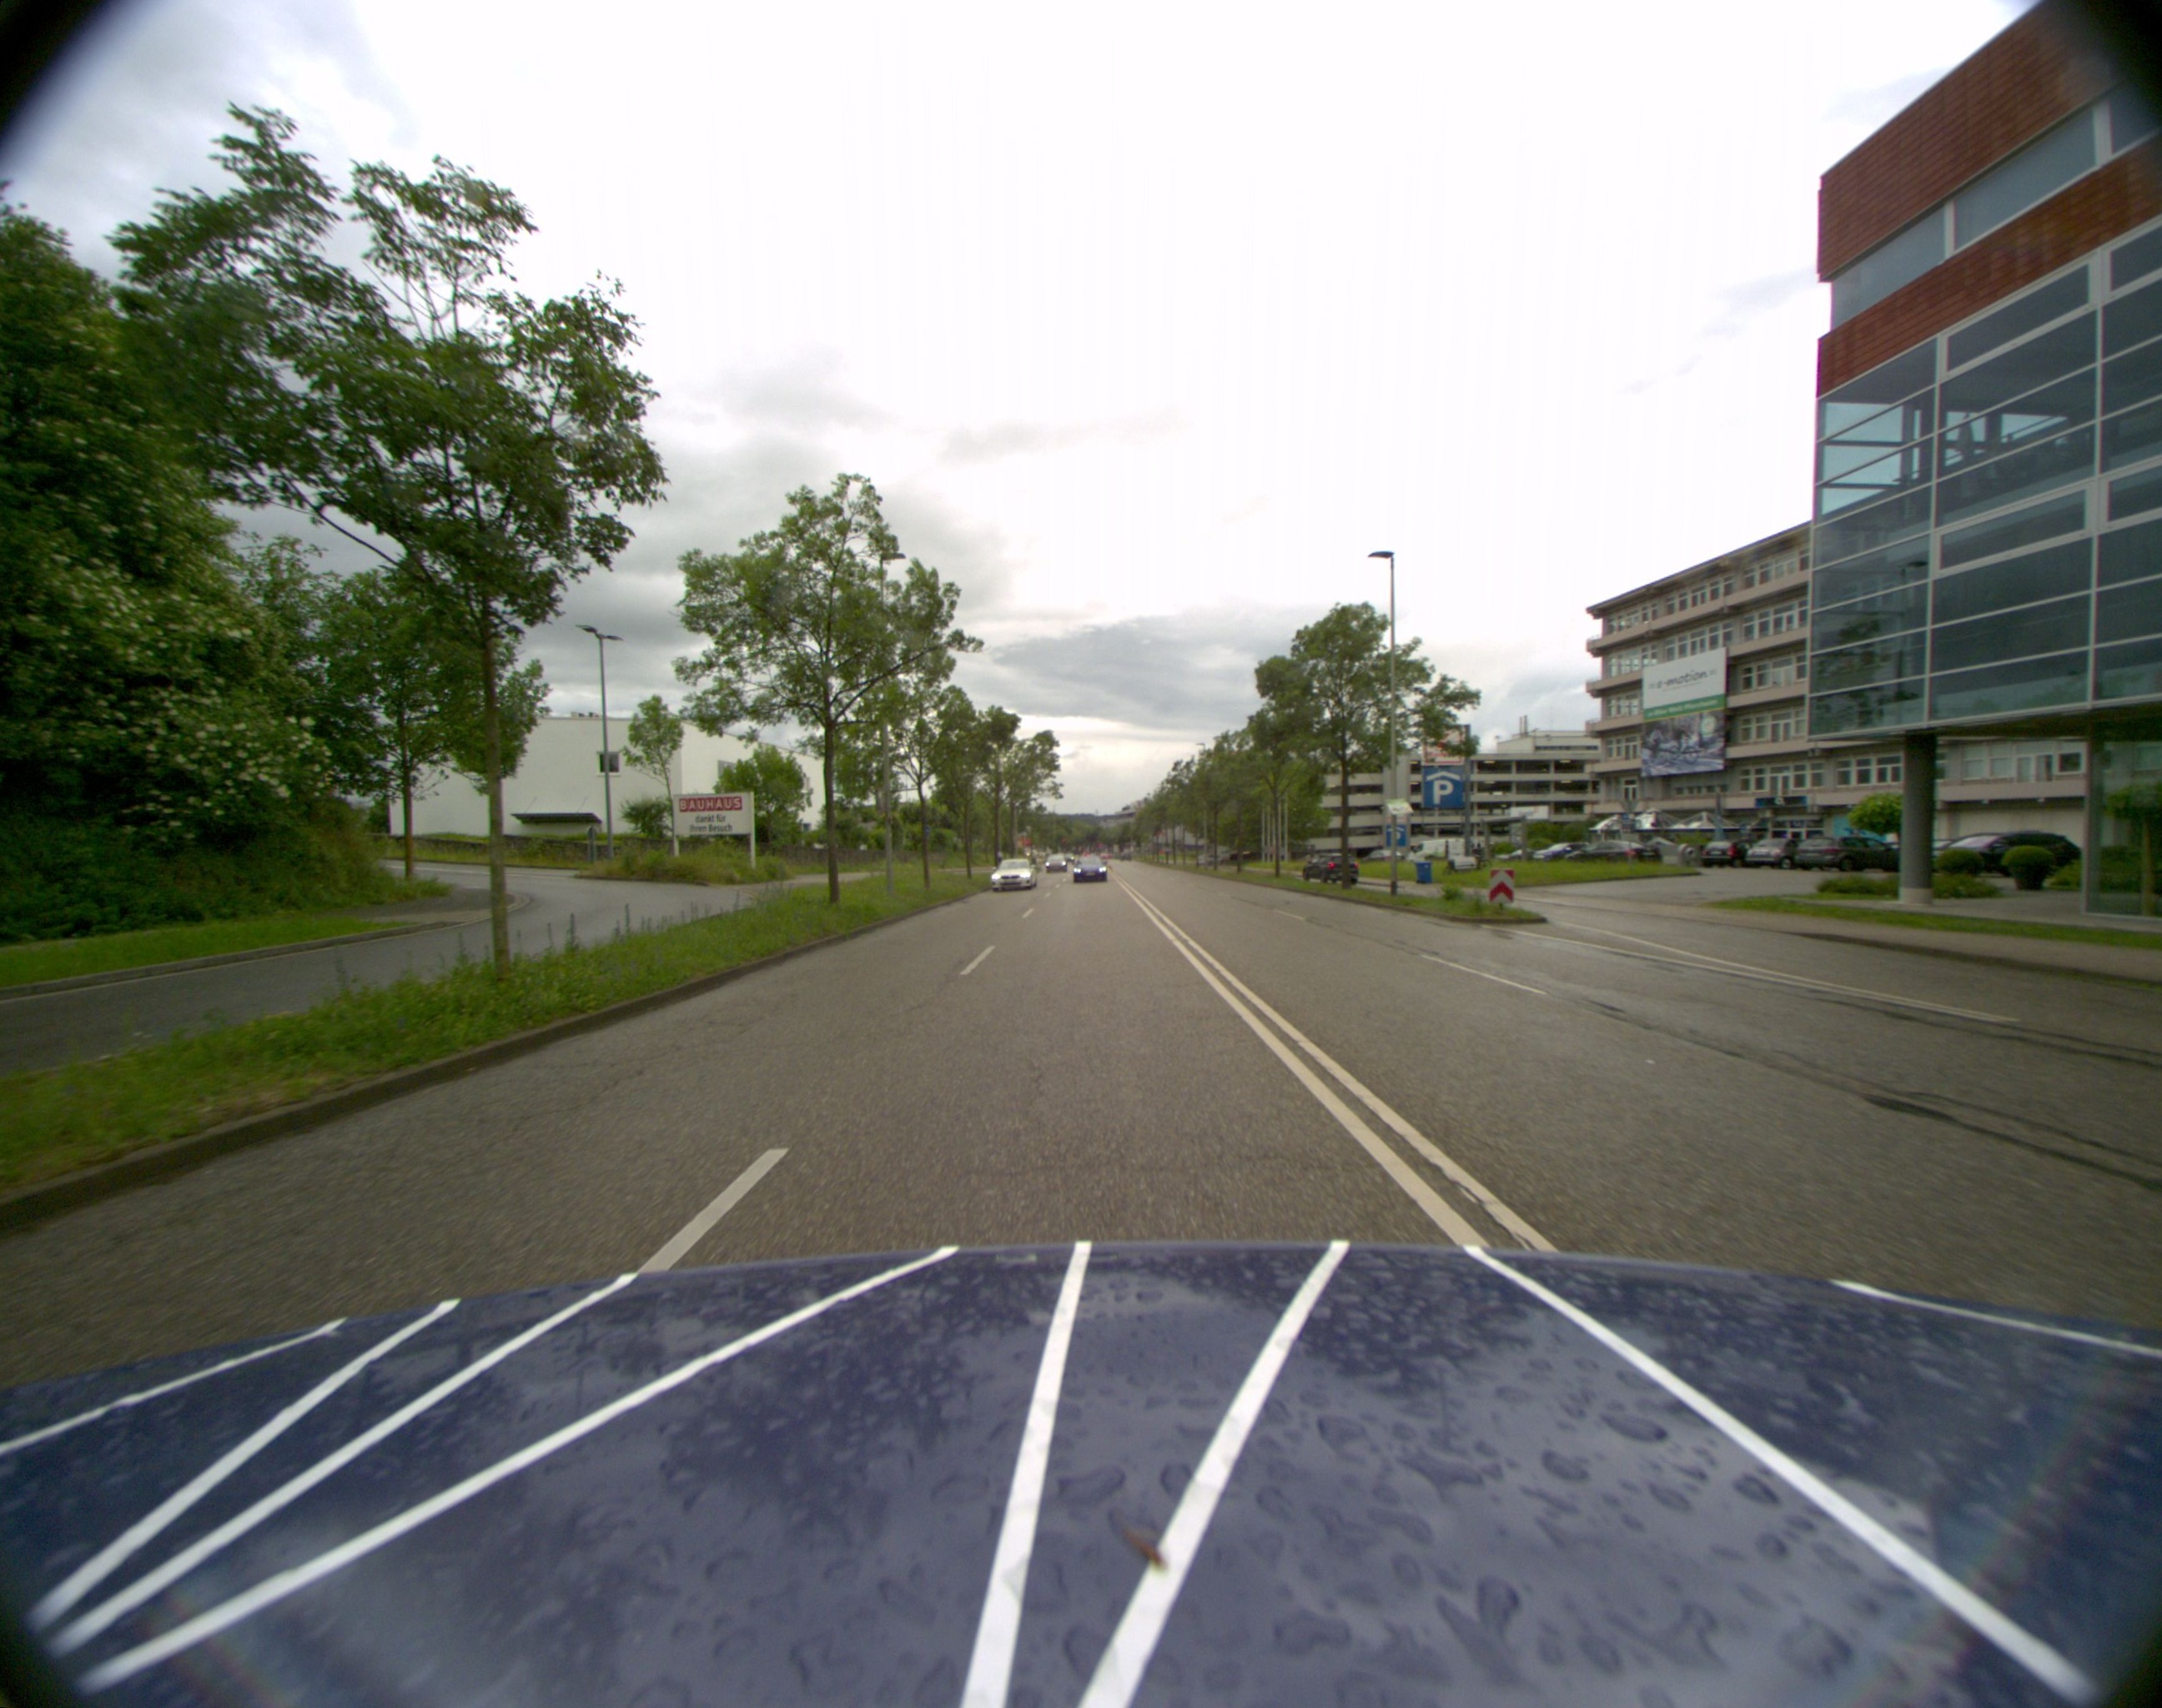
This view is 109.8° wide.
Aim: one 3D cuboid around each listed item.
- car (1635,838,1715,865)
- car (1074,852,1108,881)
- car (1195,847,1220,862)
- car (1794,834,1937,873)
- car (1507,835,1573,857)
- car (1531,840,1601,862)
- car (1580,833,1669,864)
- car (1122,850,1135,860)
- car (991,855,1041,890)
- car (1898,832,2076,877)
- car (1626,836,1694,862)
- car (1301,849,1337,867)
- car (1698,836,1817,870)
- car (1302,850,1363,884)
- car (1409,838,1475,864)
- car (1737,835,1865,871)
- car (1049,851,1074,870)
[{"bbox_3d":[37.478,-0.179,47.953,3.999,1.590,1.680,-1,1,-7],"label":"car"},{"bbox_3d":[0.539,0.680,43.516,1.827,1.473,4.839,-2,0,0],"label":"car"},{"bbox_3d":[16.038,0.056,95.870,1.846,1.839,4.008,0,0,29],"label":"car"},{"bbox_3d":[34.032,-0.024,33.039,4.437,1.608,1.833,-1,1,-2],"label":"car"},{"bbox_3d":[36.017,-0.612,59.713,4.060,1.608,1.834,-1,1,0],"label":"car"},{"bbox_3d":[36.312,-0.232,56.926,4.060,1.608,1.834,-1,1,0],"label":"car"},{"bbox_3d":[24.320,-0.270,34.156,1.509,1.276,3.449,-2,1,0],"label":"car"},{"bbox_3d":[8.466,0.162,135.884,2.114,1.610,4.839,1,0,0],"label":"car"},{"bbox_3d":[-3.062,0.847,36.501,1.864,1.473,4.000,-2,0,2],"label":"car"},{"bbox_3d":[34.430,0.001,28.968,4.435,1.608,1.834,-1,1,3],"label":"car"},{"bbox_3d":[33.655,-0.302,44.290,1.439,1.413,3.497,-1,0,3],"label":"car"},{"bbox_3d":[21.815,0.370,69.734,1.833,1.608,4.062,-1,0,-2],"label":"car"},{"bbox_3d":[33.950,-0.075,38.203,4.437,1.608,1.833,-1,1,-2],"label":"car"},{"bbox_3d":[13.211,0.651,40.097,1.833,1.608,4.000,-2,0,0],"label":"car"},{"bbox_3d":[23.657,-0.190,49.930,1.834,1.608,4.436,-1,0,-7],"label":"car"},{"bbox_3d":[33.988,-0.040,35.947,4.437,1.608,1.833,-1,1,-2],"label":"car"},{"bbox_3d":[-1.767,0.593,69.171,2.114,1.610,4.839,-2,0,0],"label":"car"}]
